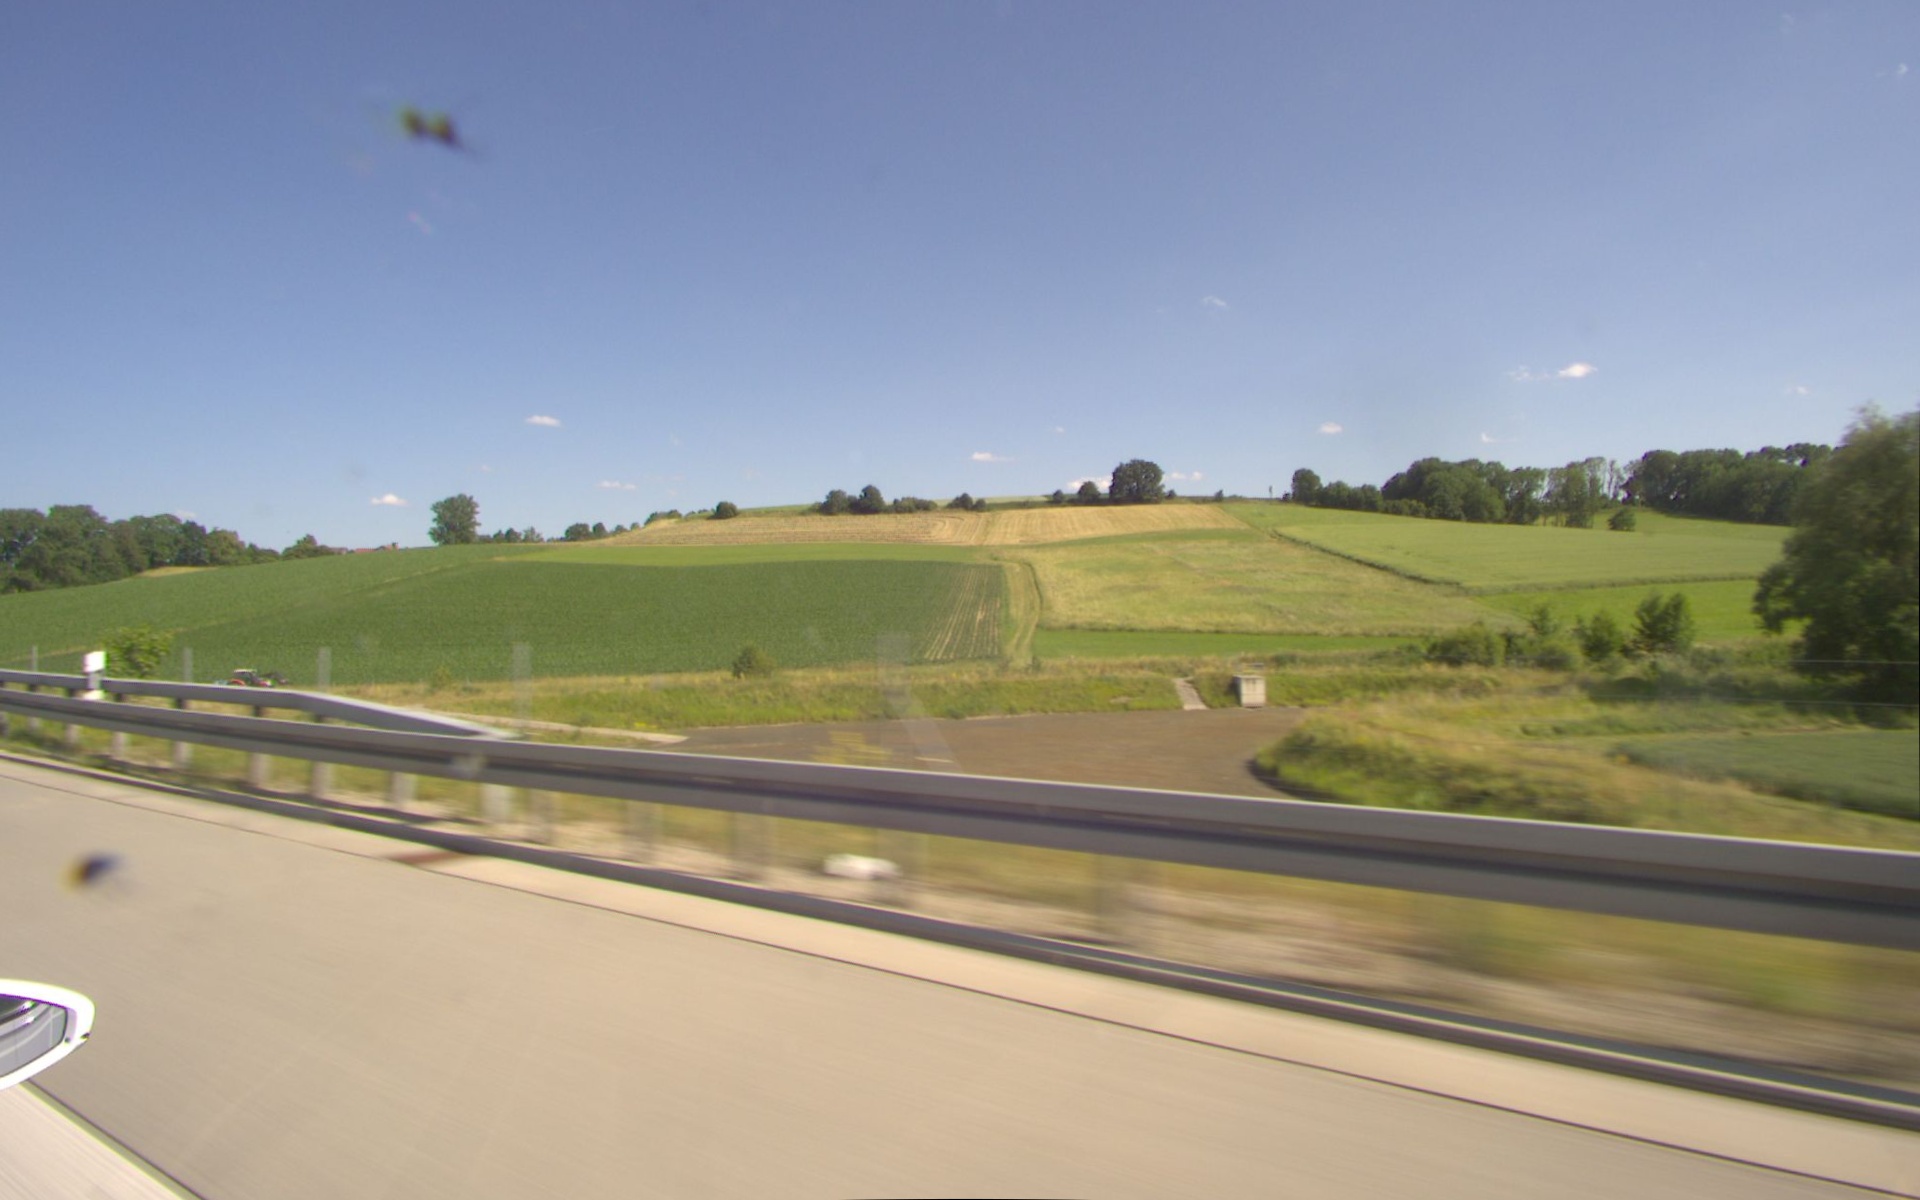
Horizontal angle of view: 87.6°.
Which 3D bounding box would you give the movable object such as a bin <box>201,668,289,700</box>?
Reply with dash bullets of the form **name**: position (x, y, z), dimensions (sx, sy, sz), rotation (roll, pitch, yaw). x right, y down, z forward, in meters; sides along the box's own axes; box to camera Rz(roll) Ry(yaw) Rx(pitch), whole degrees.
- **movable object such as a bin**: position (-68.471, 8.009, 96.061), dimensions (6.121, 2.805, 3.283), rotation (0, -2, -17)
